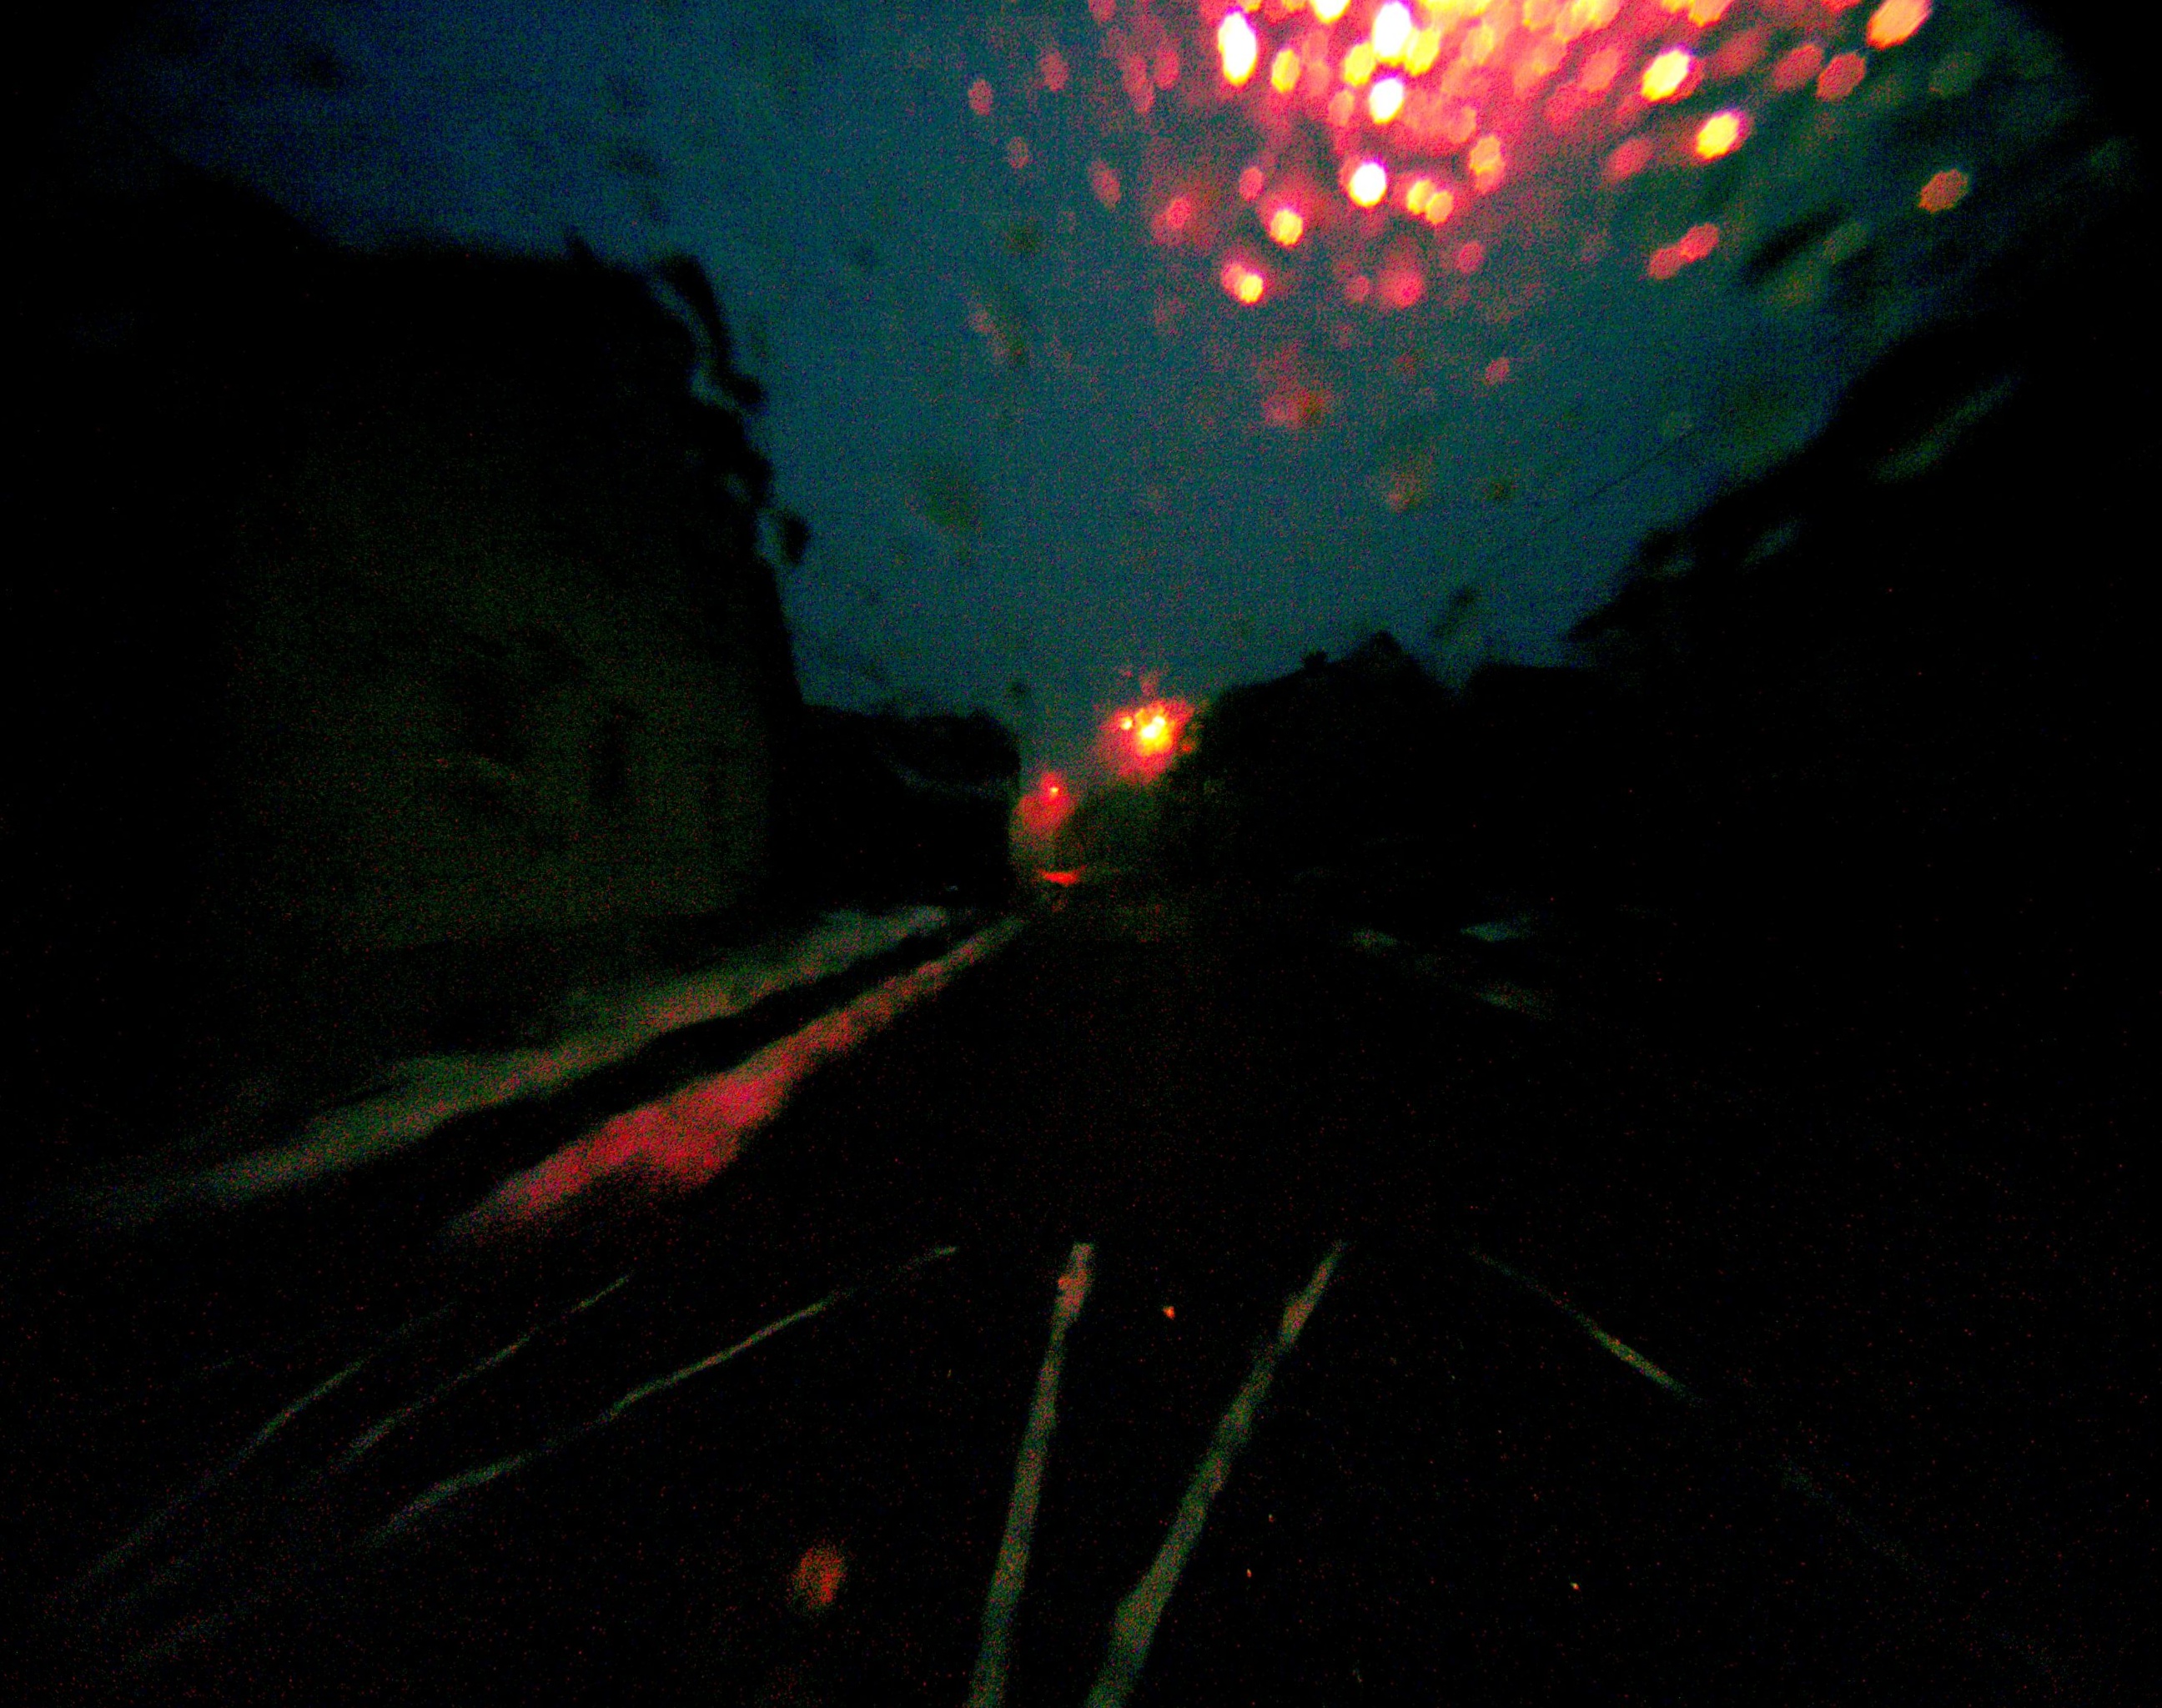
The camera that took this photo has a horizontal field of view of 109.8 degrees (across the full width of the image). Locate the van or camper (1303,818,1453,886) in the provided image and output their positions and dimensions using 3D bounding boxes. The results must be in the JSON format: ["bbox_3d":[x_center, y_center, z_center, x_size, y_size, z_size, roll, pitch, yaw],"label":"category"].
[{"bbox_3d":[11.354,-0.086,29.026,5.311,2.434,2.141,0,0,-22],"label":"van or camper"}]

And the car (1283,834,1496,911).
[{"bbox_3d":[7.915,0.467,19.932,4.801,1.657,1.891,-3,0,7],"label":"car"}]

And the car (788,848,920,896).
[{"bbox_3d":[-8.554,0.655,28.961,4.461,1.578,1.998,-2,2,-7],"label":"car"}]
